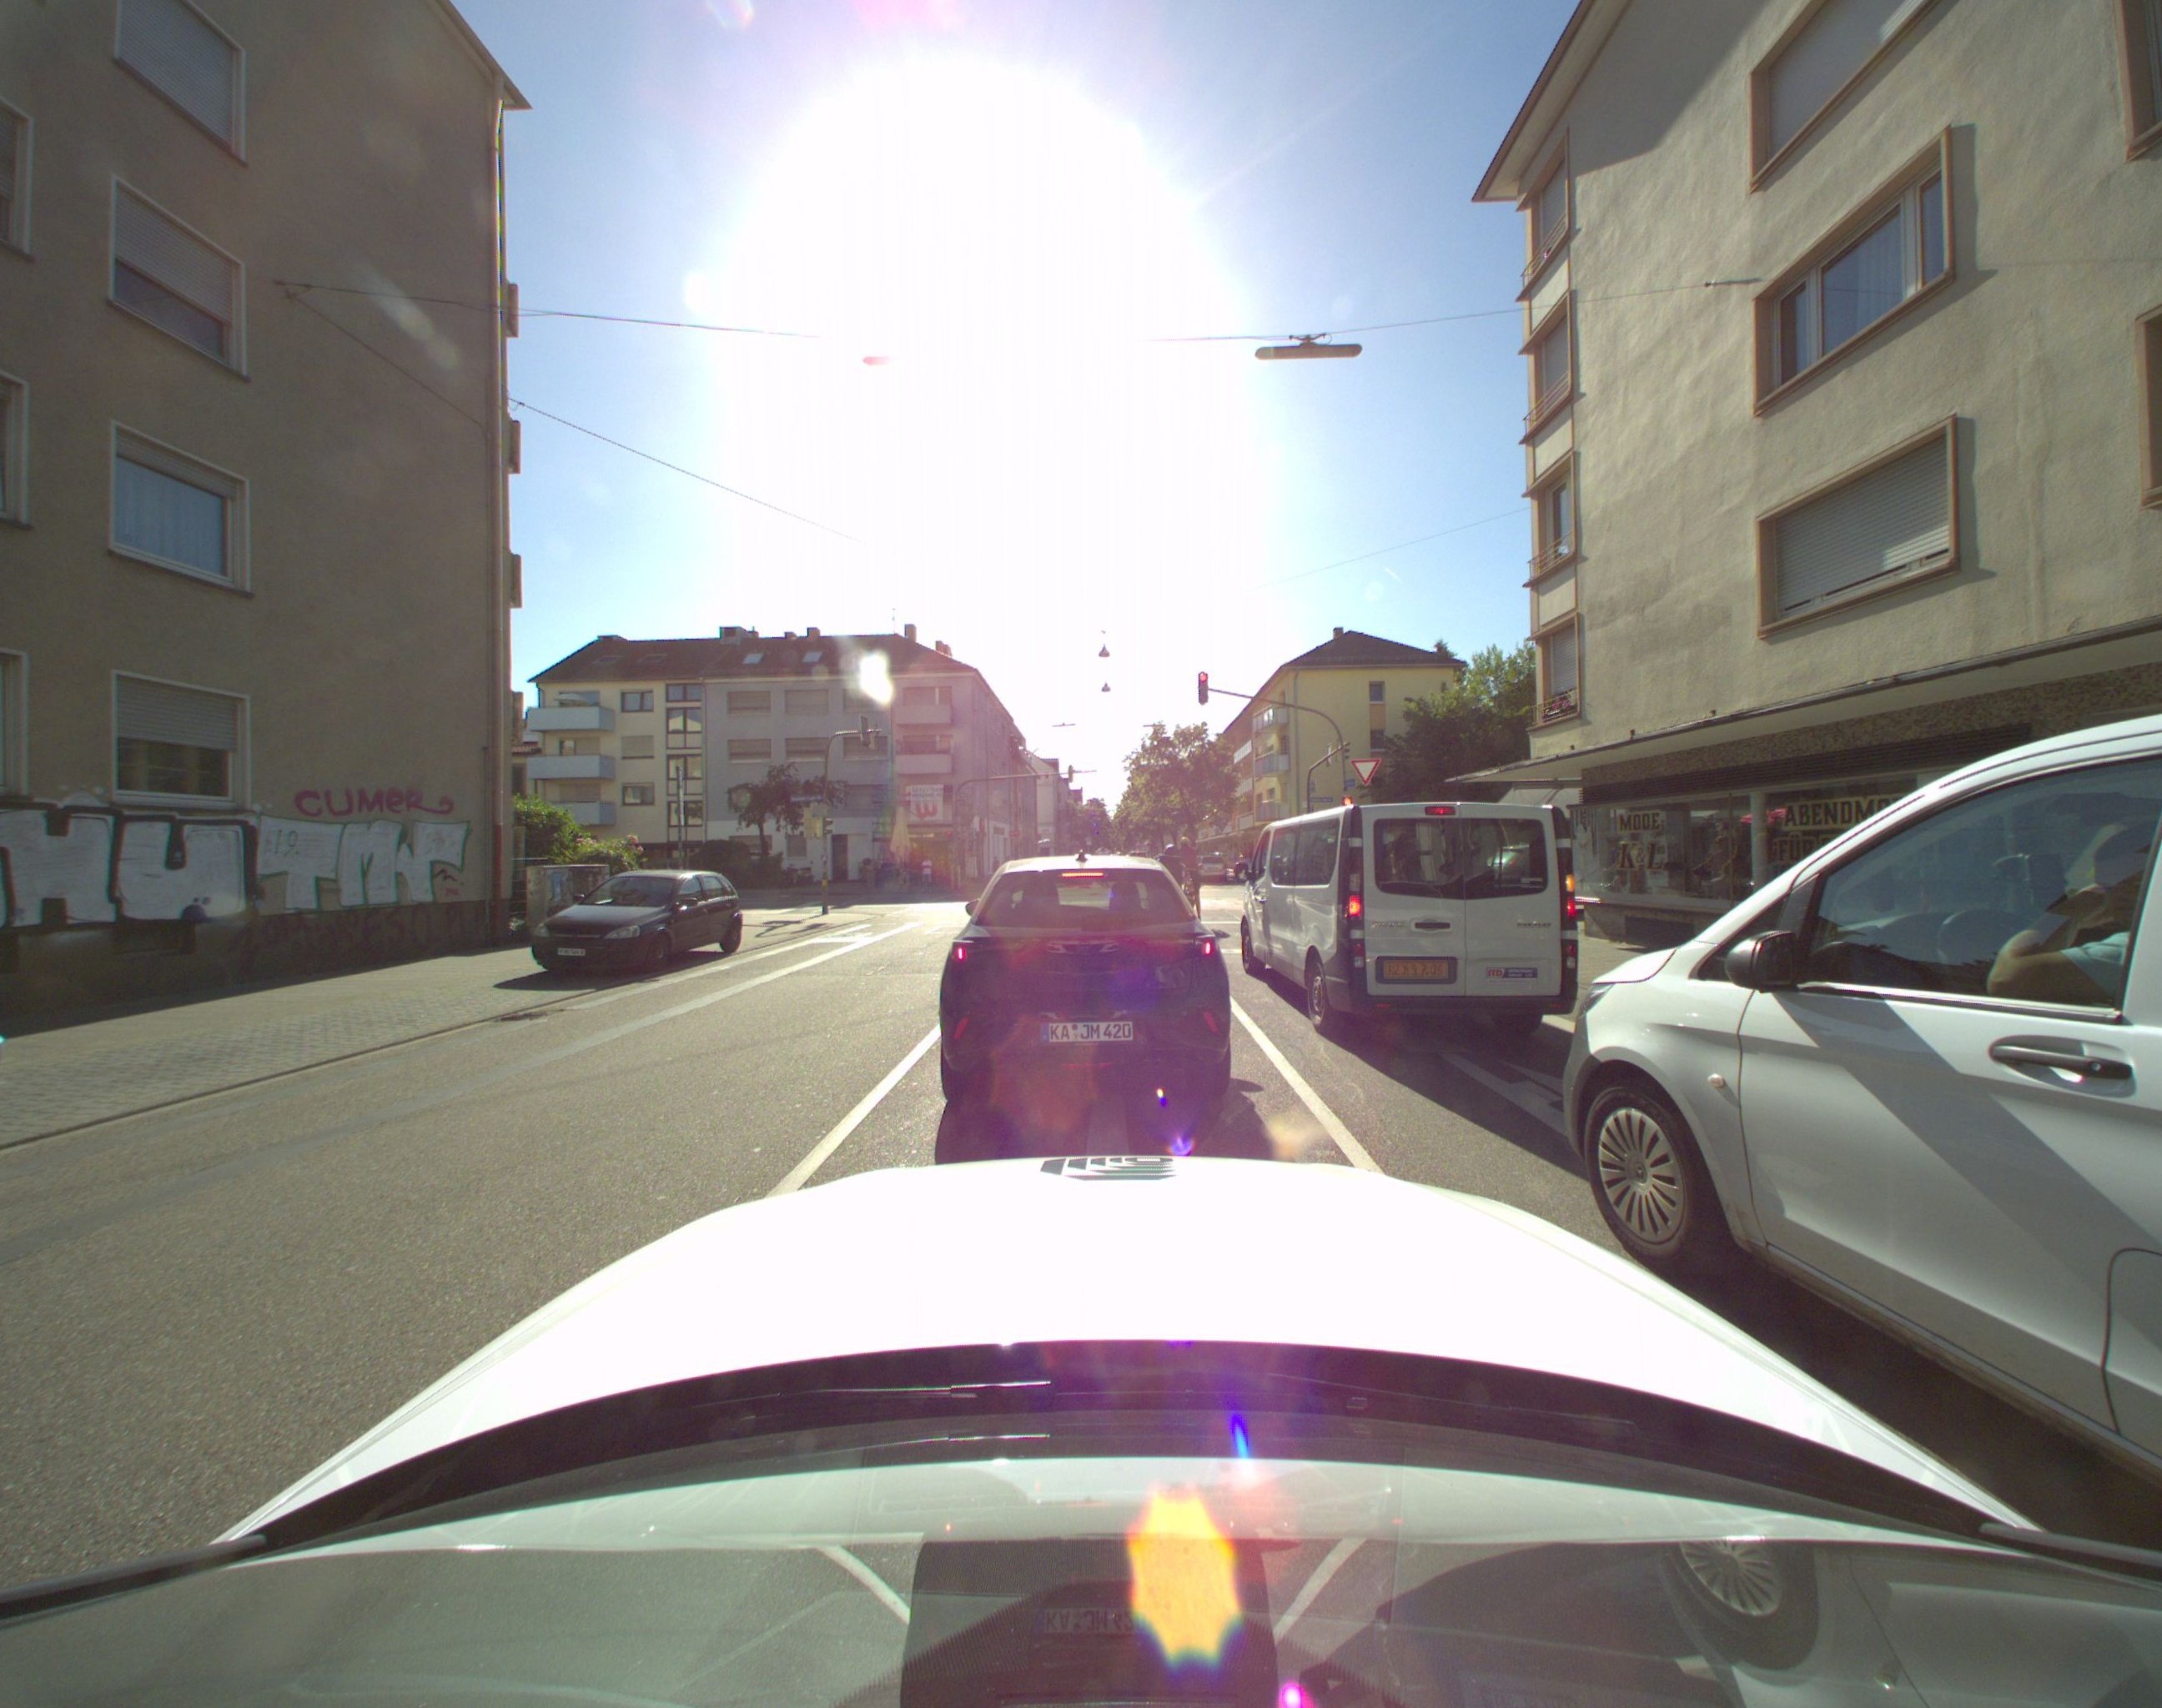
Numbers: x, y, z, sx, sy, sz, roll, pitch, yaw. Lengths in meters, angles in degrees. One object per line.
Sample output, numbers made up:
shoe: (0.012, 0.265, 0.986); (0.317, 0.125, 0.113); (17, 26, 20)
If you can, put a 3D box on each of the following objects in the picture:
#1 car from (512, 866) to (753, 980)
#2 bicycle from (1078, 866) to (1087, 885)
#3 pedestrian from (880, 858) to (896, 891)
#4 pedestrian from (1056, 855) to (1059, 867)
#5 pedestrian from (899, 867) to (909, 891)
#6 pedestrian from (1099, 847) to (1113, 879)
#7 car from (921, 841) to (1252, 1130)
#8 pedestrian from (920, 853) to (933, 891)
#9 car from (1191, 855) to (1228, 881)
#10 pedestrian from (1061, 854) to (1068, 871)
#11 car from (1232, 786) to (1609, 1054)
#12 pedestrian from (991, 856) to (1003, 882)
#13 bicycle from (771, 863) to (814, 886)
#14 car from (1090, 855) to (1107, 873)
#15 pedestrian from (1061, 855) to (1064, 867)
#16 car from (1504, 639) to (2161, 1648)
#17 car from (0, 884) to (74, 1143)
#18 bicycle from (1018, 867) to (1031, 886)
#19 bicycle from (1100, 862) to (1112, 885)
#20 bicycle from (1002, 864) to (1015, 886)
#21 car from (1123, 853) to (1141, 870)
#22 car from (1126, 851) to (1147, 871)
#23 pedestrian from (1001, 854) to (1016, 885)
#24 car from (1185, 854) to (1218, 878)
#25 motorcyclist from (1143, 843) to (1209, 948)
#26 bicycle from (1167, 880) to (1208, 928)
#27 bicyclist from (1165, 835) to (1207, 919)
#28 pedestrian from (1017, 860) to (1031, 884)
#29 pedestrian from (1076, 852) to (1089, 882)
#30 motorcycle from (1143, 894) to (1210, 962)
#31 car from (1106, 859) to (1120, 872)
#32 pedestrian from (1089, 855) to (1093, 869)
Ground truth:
car: (-6.784, 0.954, 12.822); (1.610, 1.425, 3.711); (2, 0, 1)
bicycle: (0.071, 1.155, 44.045); (0.442, 0.992, 2.068); (-1, 0, 0)
pedestrian: (-8.956, 0.957, 37.761); (0.582, 1.521, 0.649); (-1, 0, -1)
pedestrian: (-3.124, 0.920, 107.804); (0.400, 1.675, 0.418); (-1, 0, 1)
pedestrian: (-8.201, 1.161, 37.735); (0.354, 1.092, 0.461); (-1, 0, -1)
pedestrian: (1.344, 0.487, 43.763); (0.704, 1.701, 0.802); (-1, 0, 0)
car: (0.036, 0.714, 6.418); (1.765, 1.530, 3.999); (-1, 0, 0)
pedestrian: (-7.277, 0.847, 38.386); (0.560, 1.775, 0.582); (-1, 0, -7)
car: (7.420, 0.776, 47.187); (1.628, 1.433, 3.958); (-1, 0, 2)
pedestrian: (-1.649, 0.835, 81.571); (0.568, 1.690, 0.588); (-1, 0, 4)
car: (2.985, 0.491, 8.514); (1.986, 1.979, 4.896); (0, 0, 1)
pedestrian: (-5.016, 0.898, 48.486); (0.615, 1.521, 0.724); (-1, 0, -1)
bicycle: (-15.329, 1.068, 43.269); (2.103, 1.172, 0.735); (-1, 0, -22)
car: (1.998, 1.130, 93.614); (1.848, 2.013, 3.882); (-1, 0, 2)
pedestrian: (-2.451, 0.918, 107.396); (0.400, 1.675, 0.418); (-1, 0, 1)
car: (2.913, 0.524, 1.252); (1.831, 1.869, 4.993); (-1, 0, -1)
car: (-7.119, 0.910, 2.596); (1.711, 1.465, 4.817); (1, 0, 1)
bicycle: (-3.046, 1.211, 44.047); (0.520, 0.992, 2.339); (-1, 0, 0)
bicycle: (1.341, 1.038, 43.809); (0.520, 1.147, 2.170); (-1, 0, 0)
bicycle: (-3.924, 1.130, 44.128); (0.520, 1.147, 2.283); (-1, 0, 0)
car: (5.455, 0.808, 87.368); (1.894, 1.728, 4.003); (-1, 0, 2)
car: (5.023, 0.615, 74.220); (1.894, 1.728, 4.076); (-1, 0, 3)
pedestrian: (-3.893, 0.828, 43.913); (0.704, 1.678, 0.802); (-1, 0, 0)
car: (7.631, 0.763, 51.844); (1.628, 1.433, 4.002); (-1, 0, 2)
motorcyclist: (1.425, 0.604, 12.417); (0.861, 1.502, 1.160); (-1, 0, 1)
bicycle: (2.292, 1.052, 17.686); (0.575, 0.904, 2.301); (-1, 0, 0)
bicyclist: (2.250, 0.478, 17.551); (0.687, 1.712, 1.414); (-1, 0, 0)
pedestrian: (-3.064, 0.953, 43.823); (0.704, 1.253, 0.802); (-1, 0, 0)
pedestrian: (0.073, 0.684, 43.885); (0.678, 1.606, 0.762); (-1, 0, 0)
motorcycle: (1.401, 1.073, 12.251); (0.822, 0.845, 1.885); (-1, 0, 1)
car: (4.308, 1.535, 109.260); (1.817, 1.728, 4.004); (-1, 0, 3)
pedestrian: (1.166, 0.954, 95.251); (0.486, 1.690, 0.588); (-1, 0, 1)
